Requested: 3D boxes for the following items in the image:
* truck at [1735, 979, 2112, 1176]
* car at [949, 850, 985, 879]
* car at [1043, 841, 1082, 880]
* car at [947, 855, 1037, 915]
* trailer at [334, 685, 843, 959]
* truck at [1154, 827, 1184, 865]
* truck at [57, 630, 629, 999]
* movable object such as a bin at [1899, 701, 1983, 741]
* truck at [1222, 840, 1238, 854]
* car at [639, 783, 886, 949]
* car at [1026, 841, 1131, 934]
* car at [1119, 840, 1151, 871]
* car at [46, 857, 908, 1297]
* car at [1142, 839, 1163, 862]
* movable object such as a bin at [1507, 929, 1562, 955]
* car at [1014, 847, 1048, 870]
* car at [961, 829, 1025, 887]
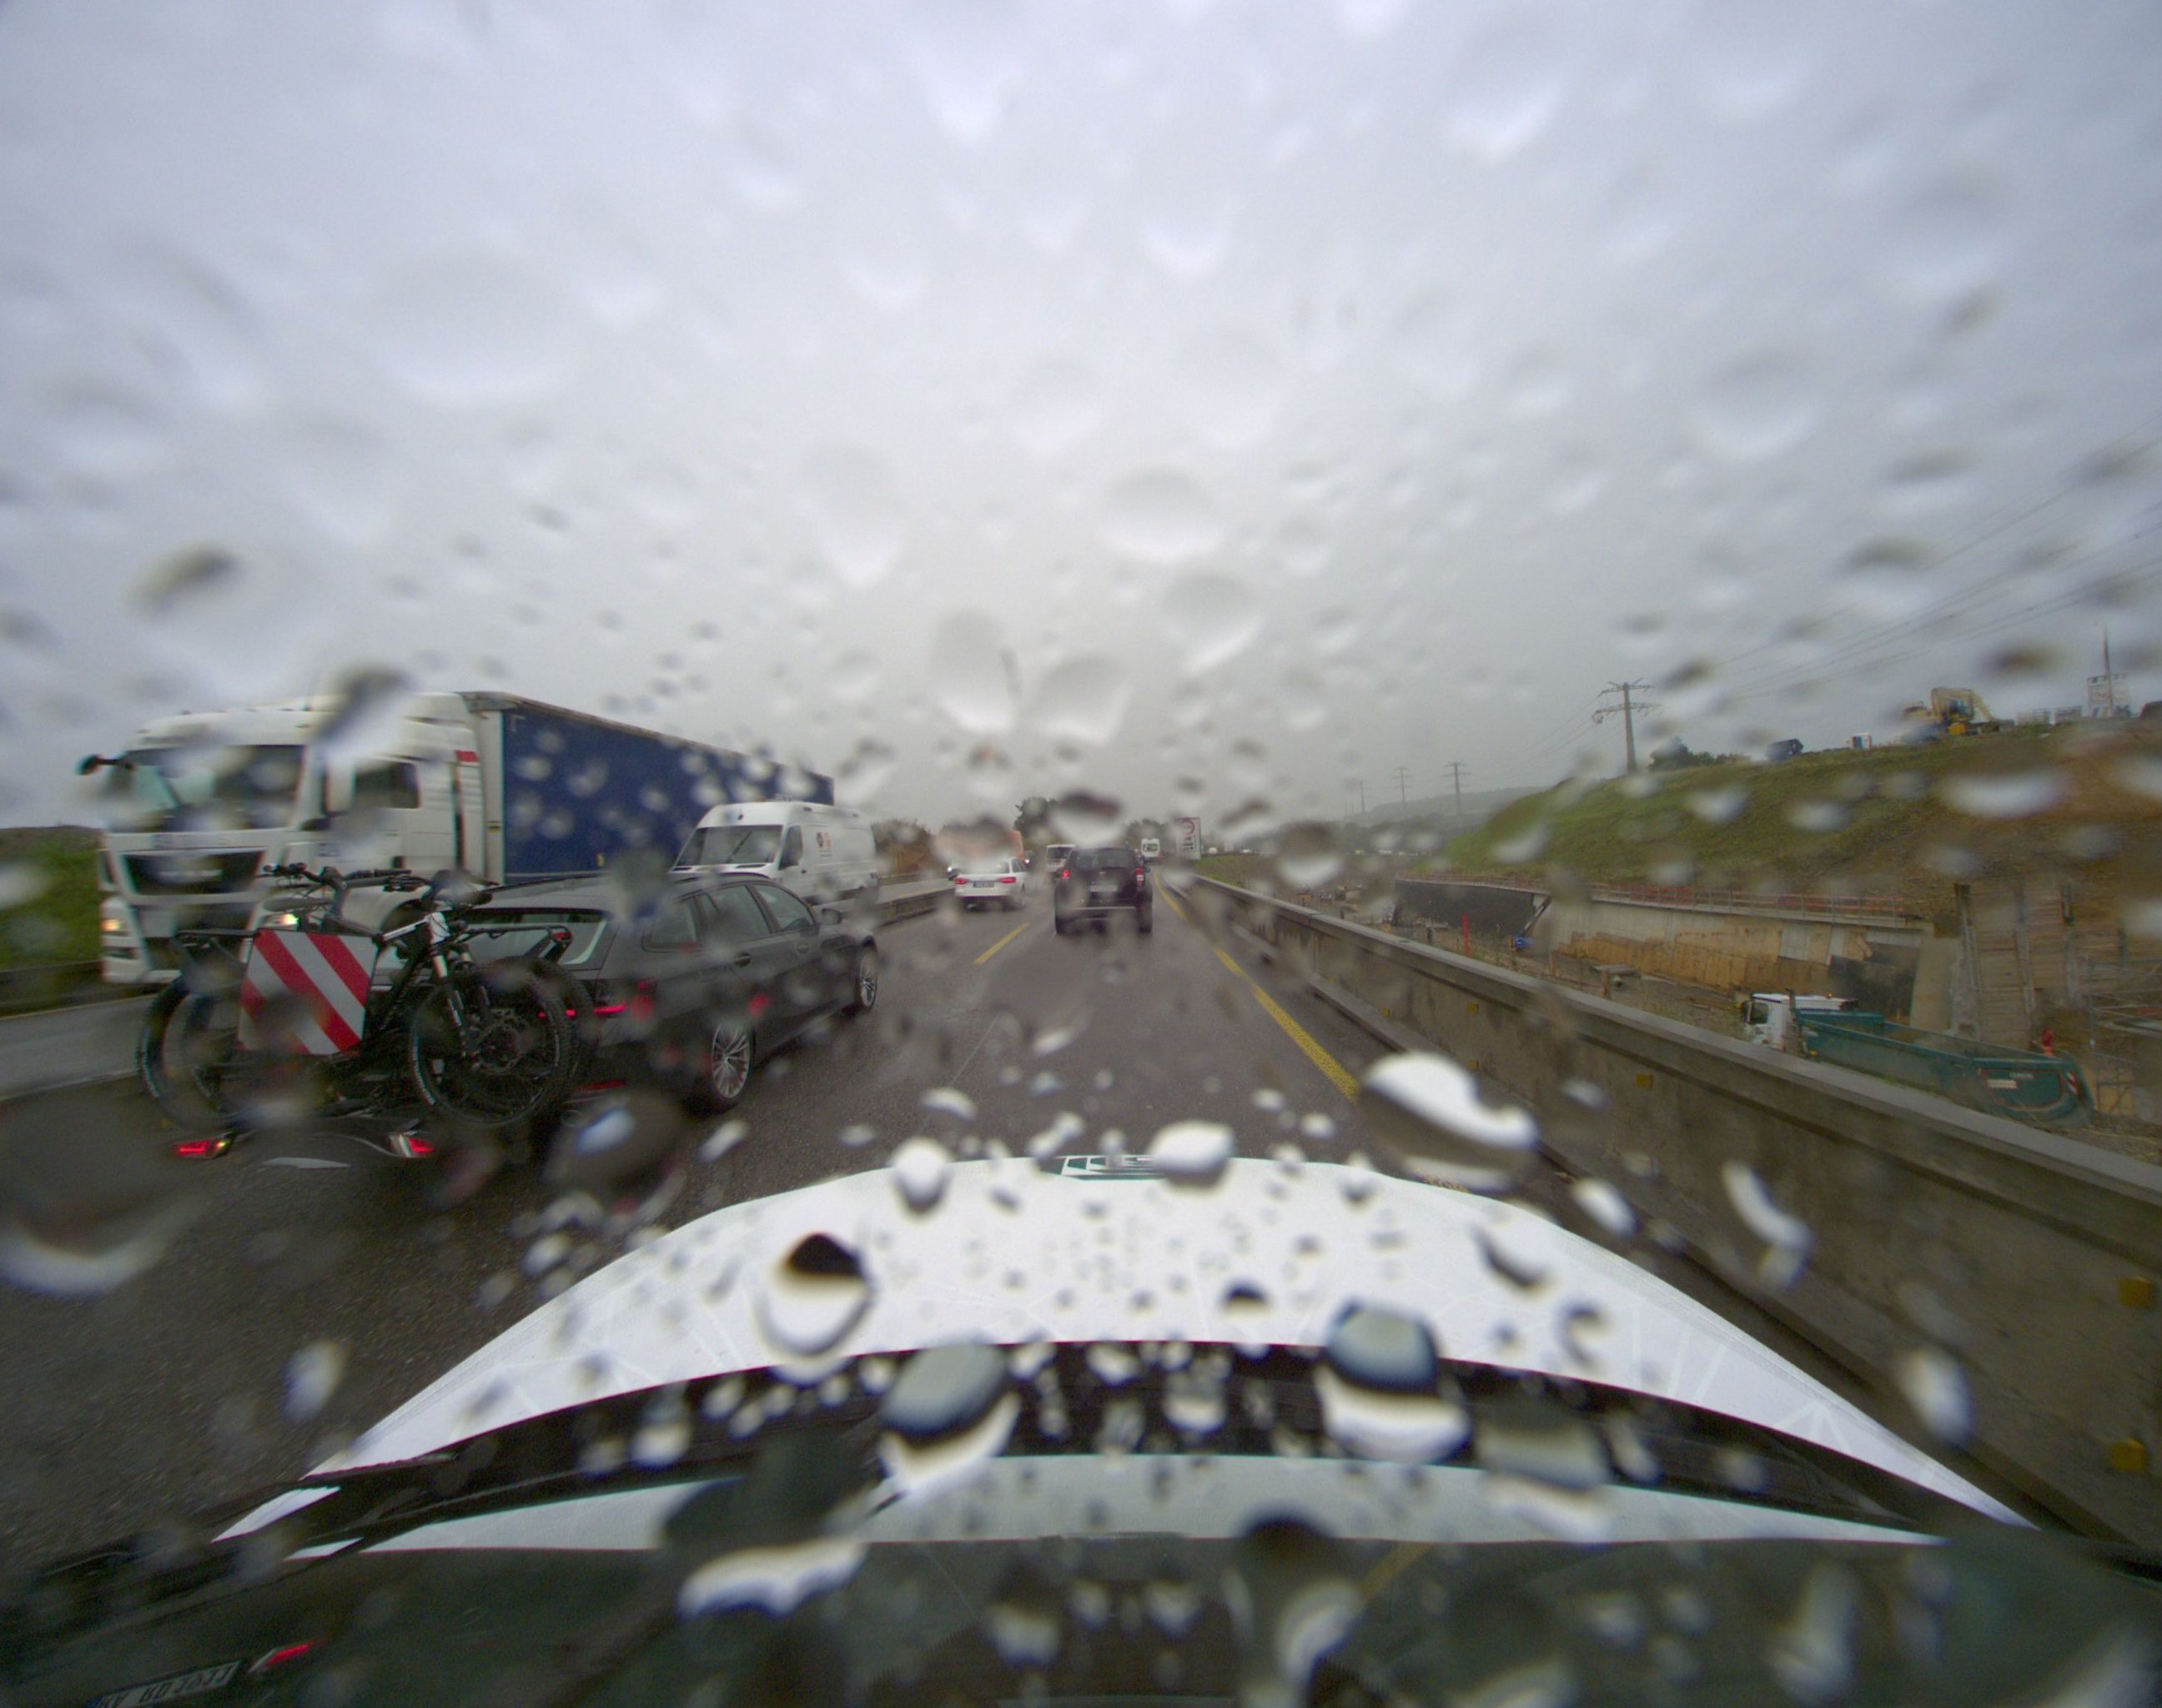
[{"bbox_3d":[24.327,6.172,24.559,2.715,3.490,9.081,-1,-1,6],"label":"truck"},{"bbox_3d":[-6.799,0.584,48.766,1.525,1.601,3.169,-1,1,2],"label":"car"},{"bbox_3d":[-0.888,0.327,41.007,1.820,1.815,4.000,-1,-1,0],"label":"car"},{"bbox_3d":[-2.357,0.801,22.588,1.818,1.499,4.003,-1,-1,3],"label":"car"},{"bbox_3d":[-9.351,-0.590,18.989,2.768,4.034,13.753,-1,1,3],"label":"trailer"},{"bbox_3d":[12.576,-0.999,115.207,3.522,5.077,10.469,-1,-1,9],"label":"truck"},{"bbox_3d":[-9.774,-0.472,11.904,2.777,4.034,5.825,-1,1,3],"label":"truck"},{"bbox_3d":[64.424,-9.928,61.117,2.414,2.443,3.980,-1,2,9],"label":"movable object such as a bin"},{"bbox_3d":[42.041,-2.106,229.376,3.444,3.715,8.456,-2,0,17],"label":"truck"},{"bbox_3d":[-5.954,0.139,16.564,1.998,2.653,6.889,-1,1,3],"label":"car"},{"bbox_3d":[0.074,0.601,16.247,1.818,1.591,4.004,-1,-1,3],"label":"car"},{"bbox_3d":[3.324,0.112,49.606,1.817,1.815,4.006,-1,-1,5],"label":"car"},{"bbox_3d":[-2.890,0.865,5.892,1.727,1.462,5.635,-1,2,3],"label":"car"},{"bbox_3d":[7.672,-0.358,86.992,1.815,2.437,4.169,-1,-1,9],"label":"car"},{"bbox_3d":[40.422,7.824,72.685,2.008,2.014,3.800,2,-4,-35],"label":"movable object such as a bin"},{"bbox_3d":[-3.944,0.317,64.859,1.984,1.686,4.976,-1,1,5],"label":"car"},{"bbox_3d":[-4.145,0.137,39.729,2.046,2.577,7.025,-1,1,2],"label":"car"}]
